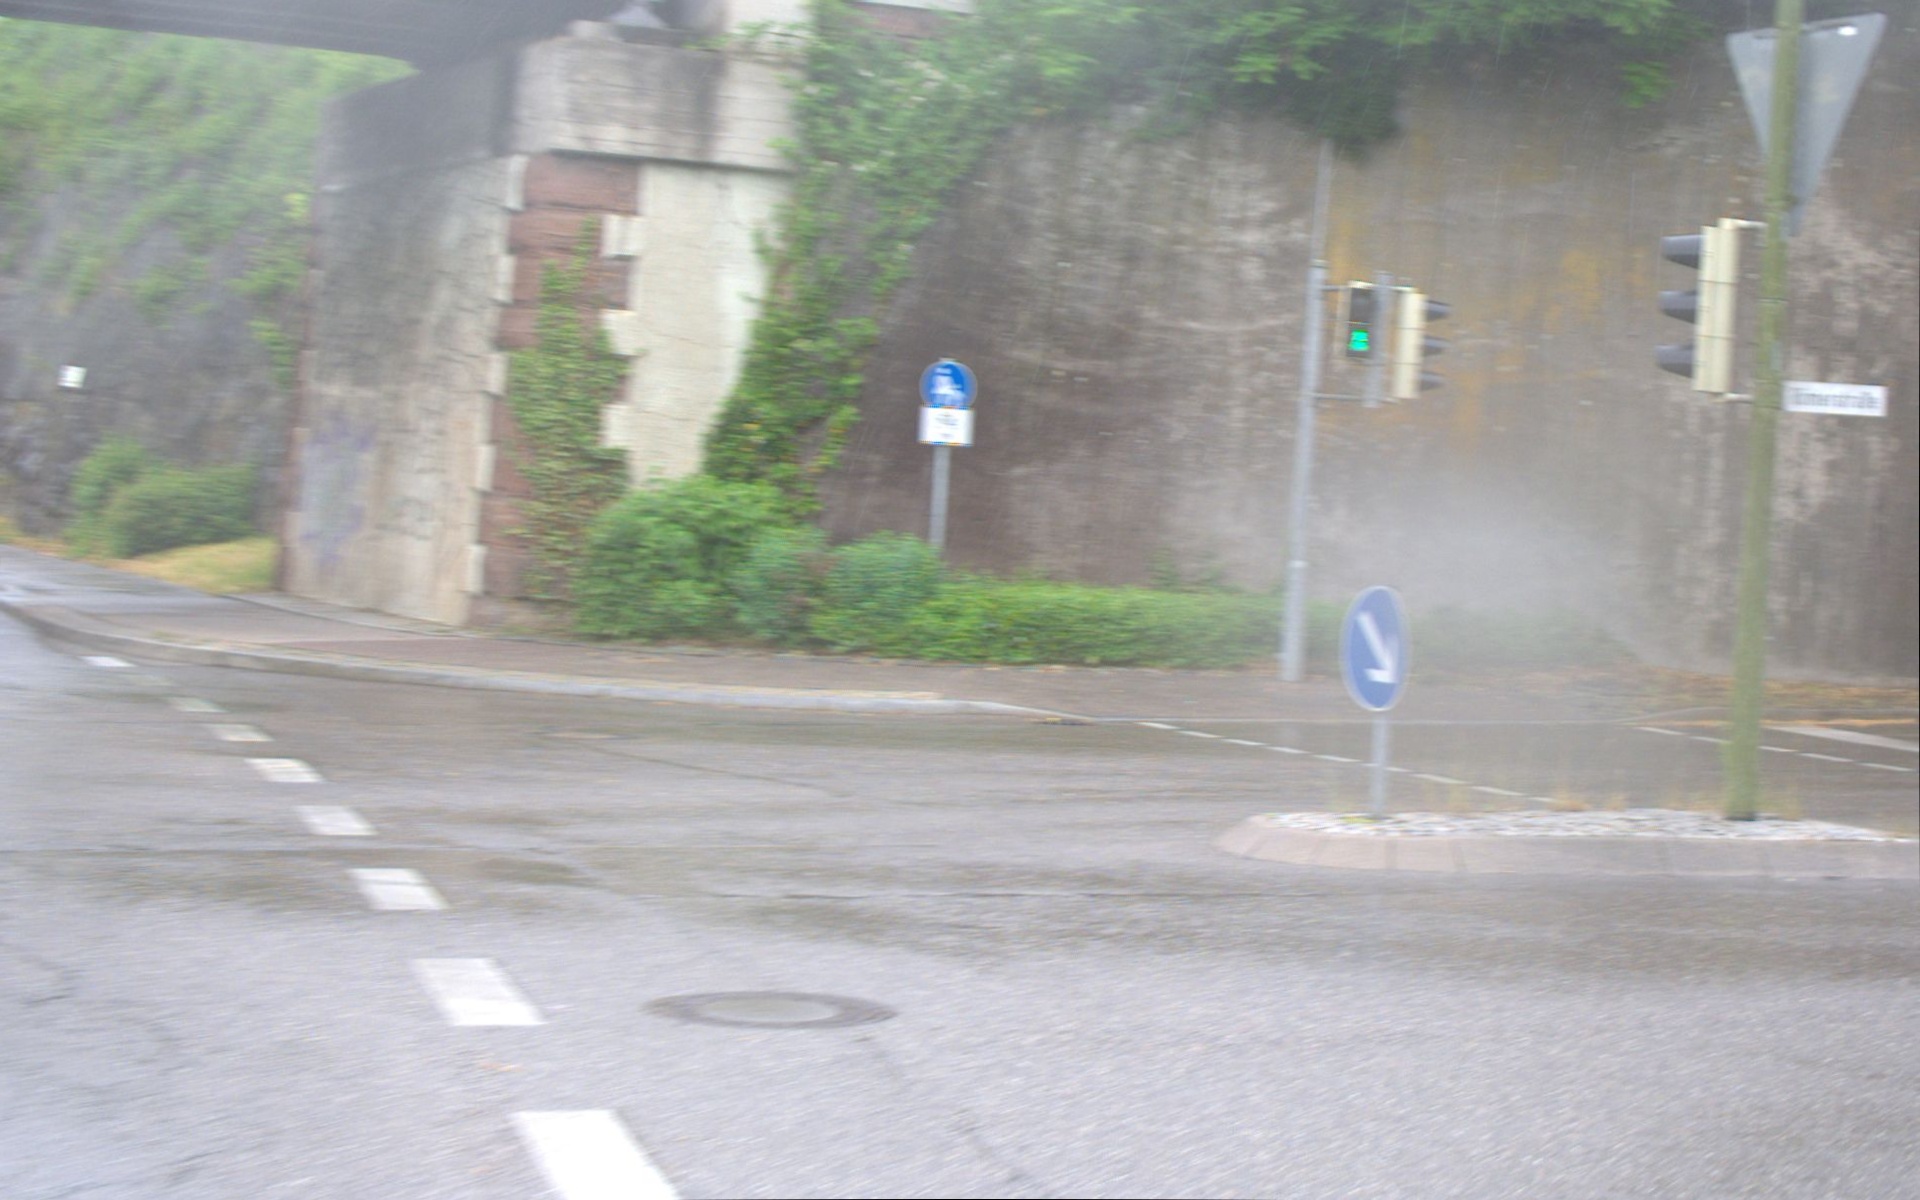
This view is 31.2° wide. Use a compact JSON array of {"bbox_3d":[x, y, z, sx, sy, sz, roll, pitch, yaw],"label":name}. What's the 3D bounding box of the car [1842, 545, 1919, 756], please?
[{"bbox_3d":[9.089,0.404,25.248,4.712,1.498,2.001,1,1,-20],"label":"car"}]
